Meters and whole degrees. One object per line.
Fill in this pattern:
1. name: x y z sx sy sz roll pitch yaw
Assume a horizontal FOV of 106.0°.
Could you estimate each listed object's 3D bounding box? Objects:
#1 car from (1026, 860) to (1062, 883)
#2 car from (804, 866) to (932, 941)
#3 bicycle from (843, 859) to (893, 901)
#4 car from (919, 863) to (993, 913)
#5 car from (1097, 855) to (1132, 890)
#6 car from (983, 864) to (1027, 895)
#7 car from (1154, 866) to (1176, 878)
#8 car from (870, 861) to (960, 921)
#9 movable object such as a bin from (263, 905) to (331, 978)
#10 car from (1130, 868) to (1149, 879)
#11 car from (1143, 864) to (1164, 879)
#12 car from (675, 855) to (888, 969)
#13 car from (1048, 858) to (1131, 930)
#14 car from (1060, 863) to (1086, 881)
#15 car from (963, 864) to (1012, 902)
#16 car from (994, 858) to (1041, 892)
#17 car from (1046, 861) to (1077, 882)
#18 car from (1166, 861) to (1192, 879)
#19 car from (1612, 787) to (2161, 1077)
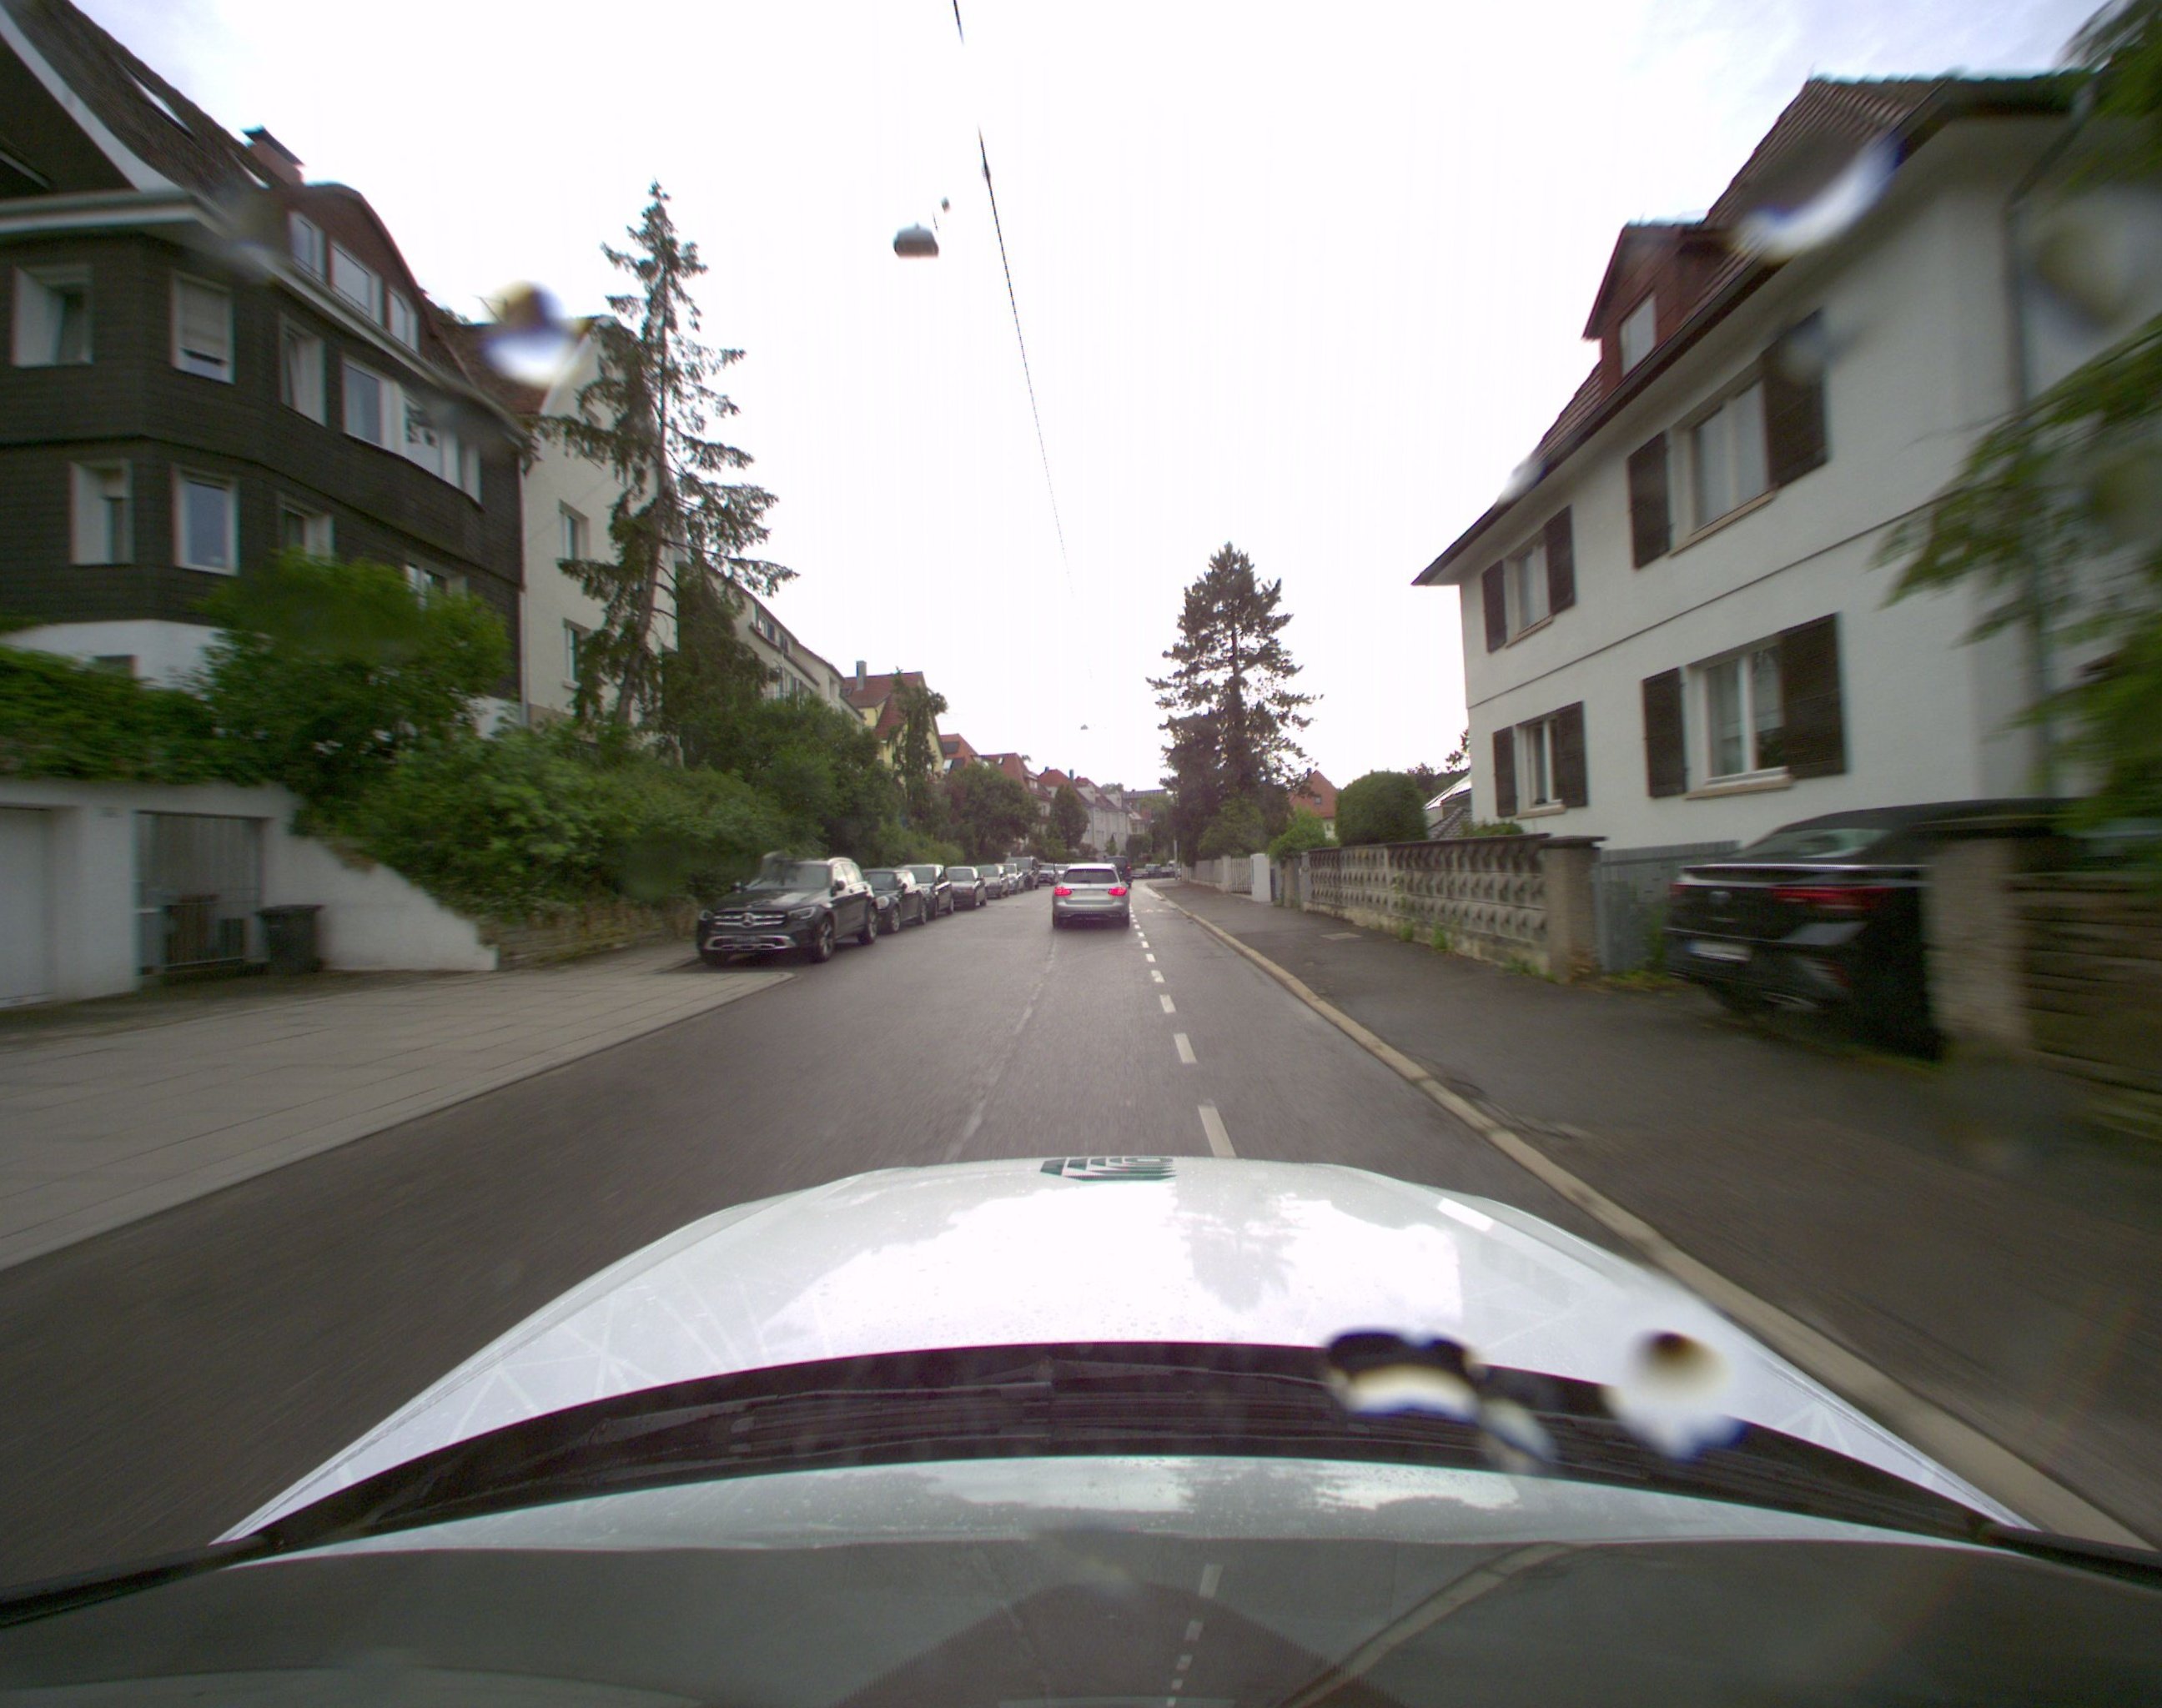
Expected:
1. car: -2.689 1.290 60.149 1.984 1.581 4.767 1 -1 5
2. car: -4.847 1.071 19.117 1.886 1.447 3.815 -1 1 1
3. bicycle: -7.196 0.856 27.631 1.000 1.301 2.292 -1 1 2
4. car: -4.221 1.102 28.191 1.749 1.447 4.418 -1 1 1
5. car: 1.997 1.081 47.593 1.834 1.904 4.004 -1 -1 4
6. car: -3.810 1.276 41.280 1.687 1.447 3.816 -1 -1 3
7. car: 12.668 2.658 121.940 1.976 1.688 4.702 -1 1 23
8. car: -4.646 0.995 23.364 1.690 1.541 3.815 -1 -1 1
9. movable object such as a bin: -10.568 1.162 10.994 0.625 0.889 0.482 -2 1 -43
10. car: 8.002 2.599 110.469 1.631 1.417 4.632 -1 -1 17
11. car: 10.388 2.453 116.161 1.814 2.056 5.033 -1 -1 19
12. car: -4.825 0.850 13.891 1.886 1.622 4.380 -1 -1 1
13. car: 0.274 0.896 19.675 1.809 1.556 4.002 0 -1 2
14. car: -0.739 1.715 78.842 1.781 1.581 4.149 1 -1 9
15. car: -4.086 1.252 36.036 1.640 1.447 3.629 -1 1 1
16. car: -3.626 1.170 47.503 1.985 1.878 5.361 0 -1 3
17. car: -1.669 1.464 70.419 1.983 1.702 4.747 1 -1 7
18. car: 15.532 2.500 129.179 2.370 2.772 6.567 -1 0 22
19. car: 6.277 0.419 5.626 3.972 1.640 1.919 -1 1 1
